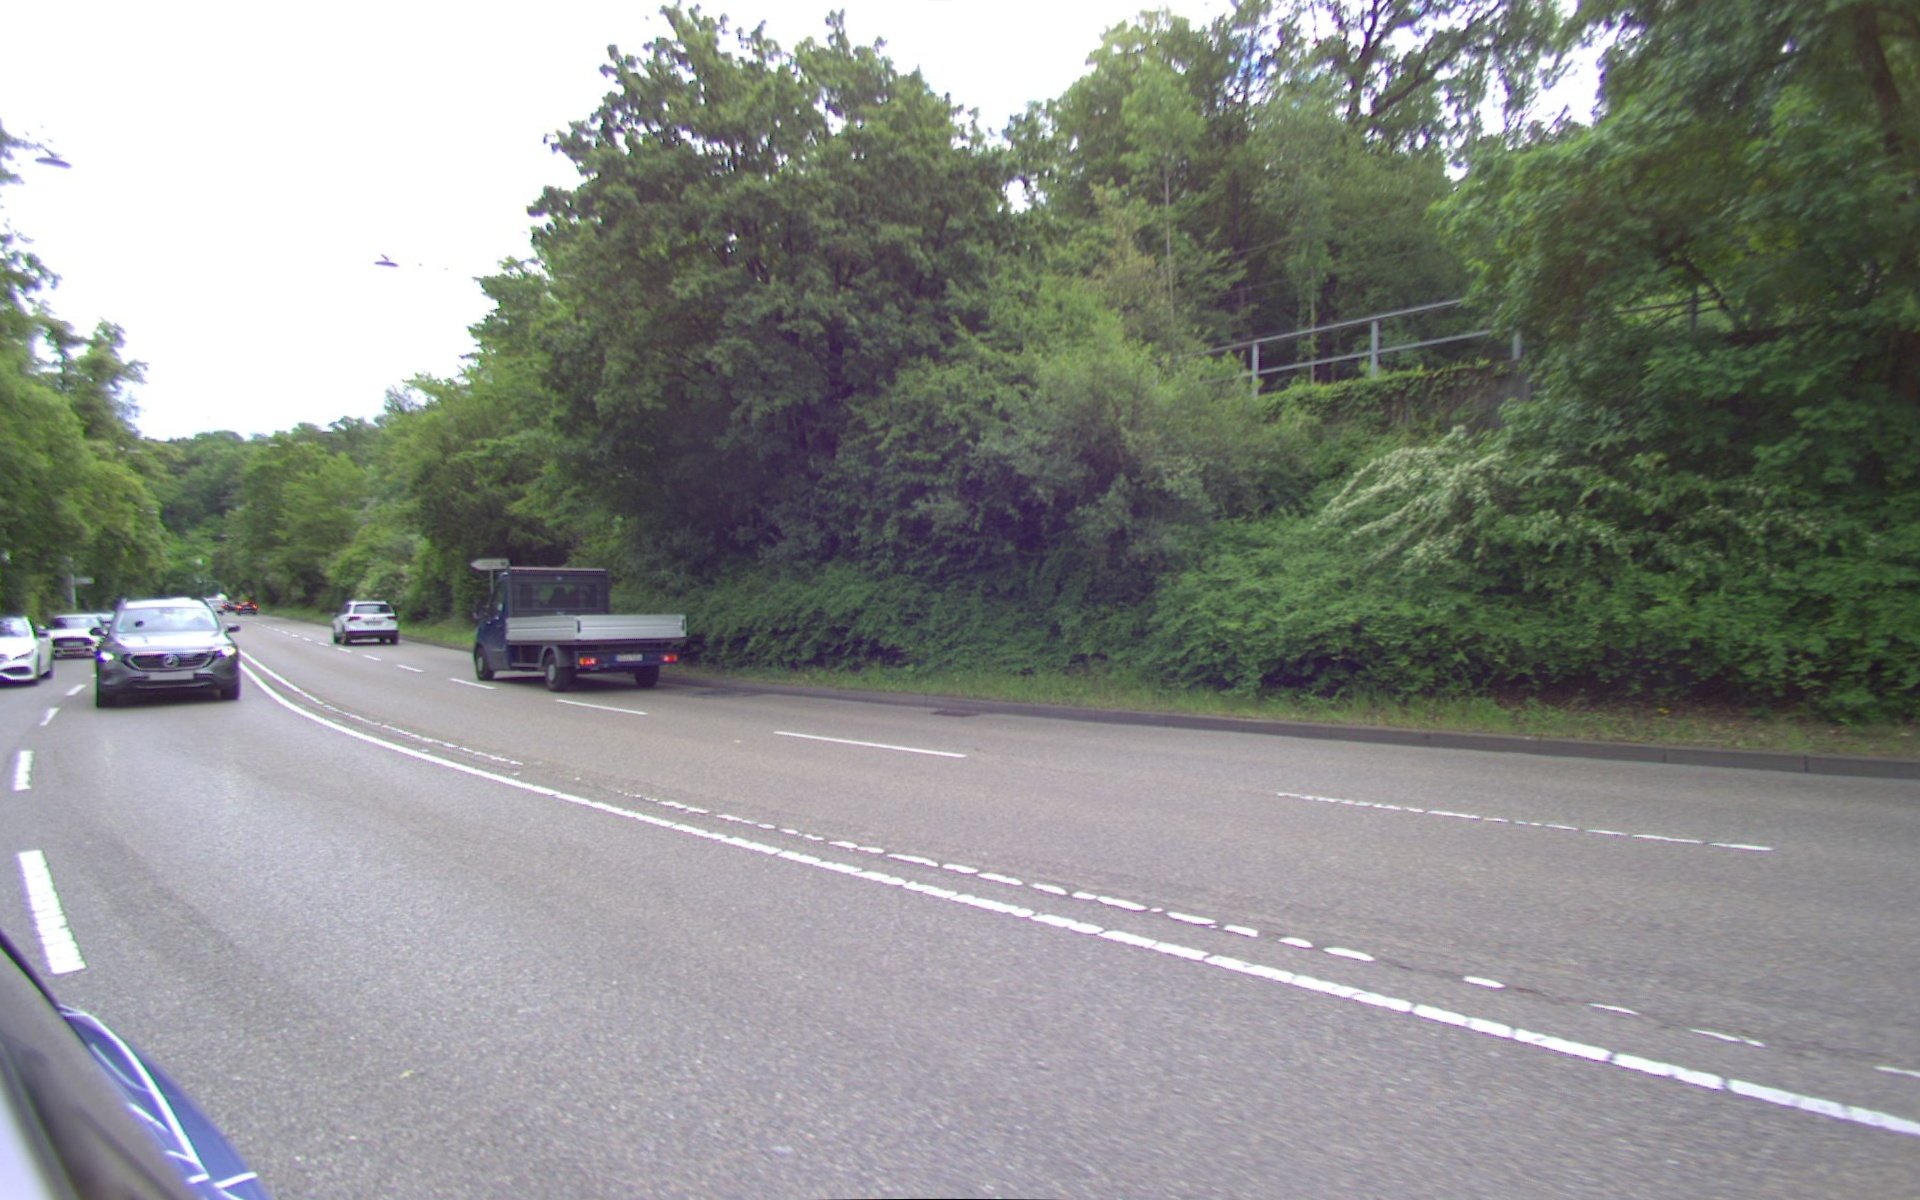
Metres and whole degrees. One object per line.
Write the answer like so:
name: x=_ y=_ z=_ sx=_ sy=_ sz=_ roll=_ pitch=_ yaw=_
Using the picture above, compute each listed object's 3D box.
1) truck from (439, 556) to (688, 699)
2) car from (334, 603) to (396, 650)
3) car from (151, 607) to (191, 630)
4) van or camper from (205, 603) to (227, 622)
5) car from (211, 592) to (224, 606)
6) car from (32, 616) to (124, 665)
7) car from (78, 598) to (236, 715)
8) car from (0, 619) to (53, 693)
truck: x=-8.064 y=0.496 z=20.053 sx=2.136 sy=2.389 sz=6.682 roll=0 pitch=-1 yaw=-45
car: x=-22.997 y=1.003 z=39.059 sx=1.830 sy=1.707 sz=4.448 roll=2 pitch=-2 yaw=-33
car: x=-61.360 y=1.430 z=78.682 sx=3.998 sy=1.594 sz=1.676 roll=-1 pitch=3 yaw=41
van or camper: x=-88.701 y=1.477 z=120.636 sx=1.967 sy=2.029 sz=5.380 roll=5 pitch=-3 yaw=-37
car: x=-139.619 y=-0.226 z=190.373 sx=1.862 sy=2.575 sz=4.925 roll=0 pitch=0 yaw=-37
car: x=-29.836 y=1.332 z=34.195 sx=3.998 sy=1.449 sz=1.757 roll=-1 pitch=3 yaw=41
car: x=-13.337 y=0.828 z=16.927 sx=1.842 sy=1.675 sz=4.201 roll=-1 pitch=0 yaw=-37
car: x=-19.766 y=1.114 z=20.425 sx=1.868 sy=1.306 sz=4.336 roll=-3 pitch=2 yaw=-38
